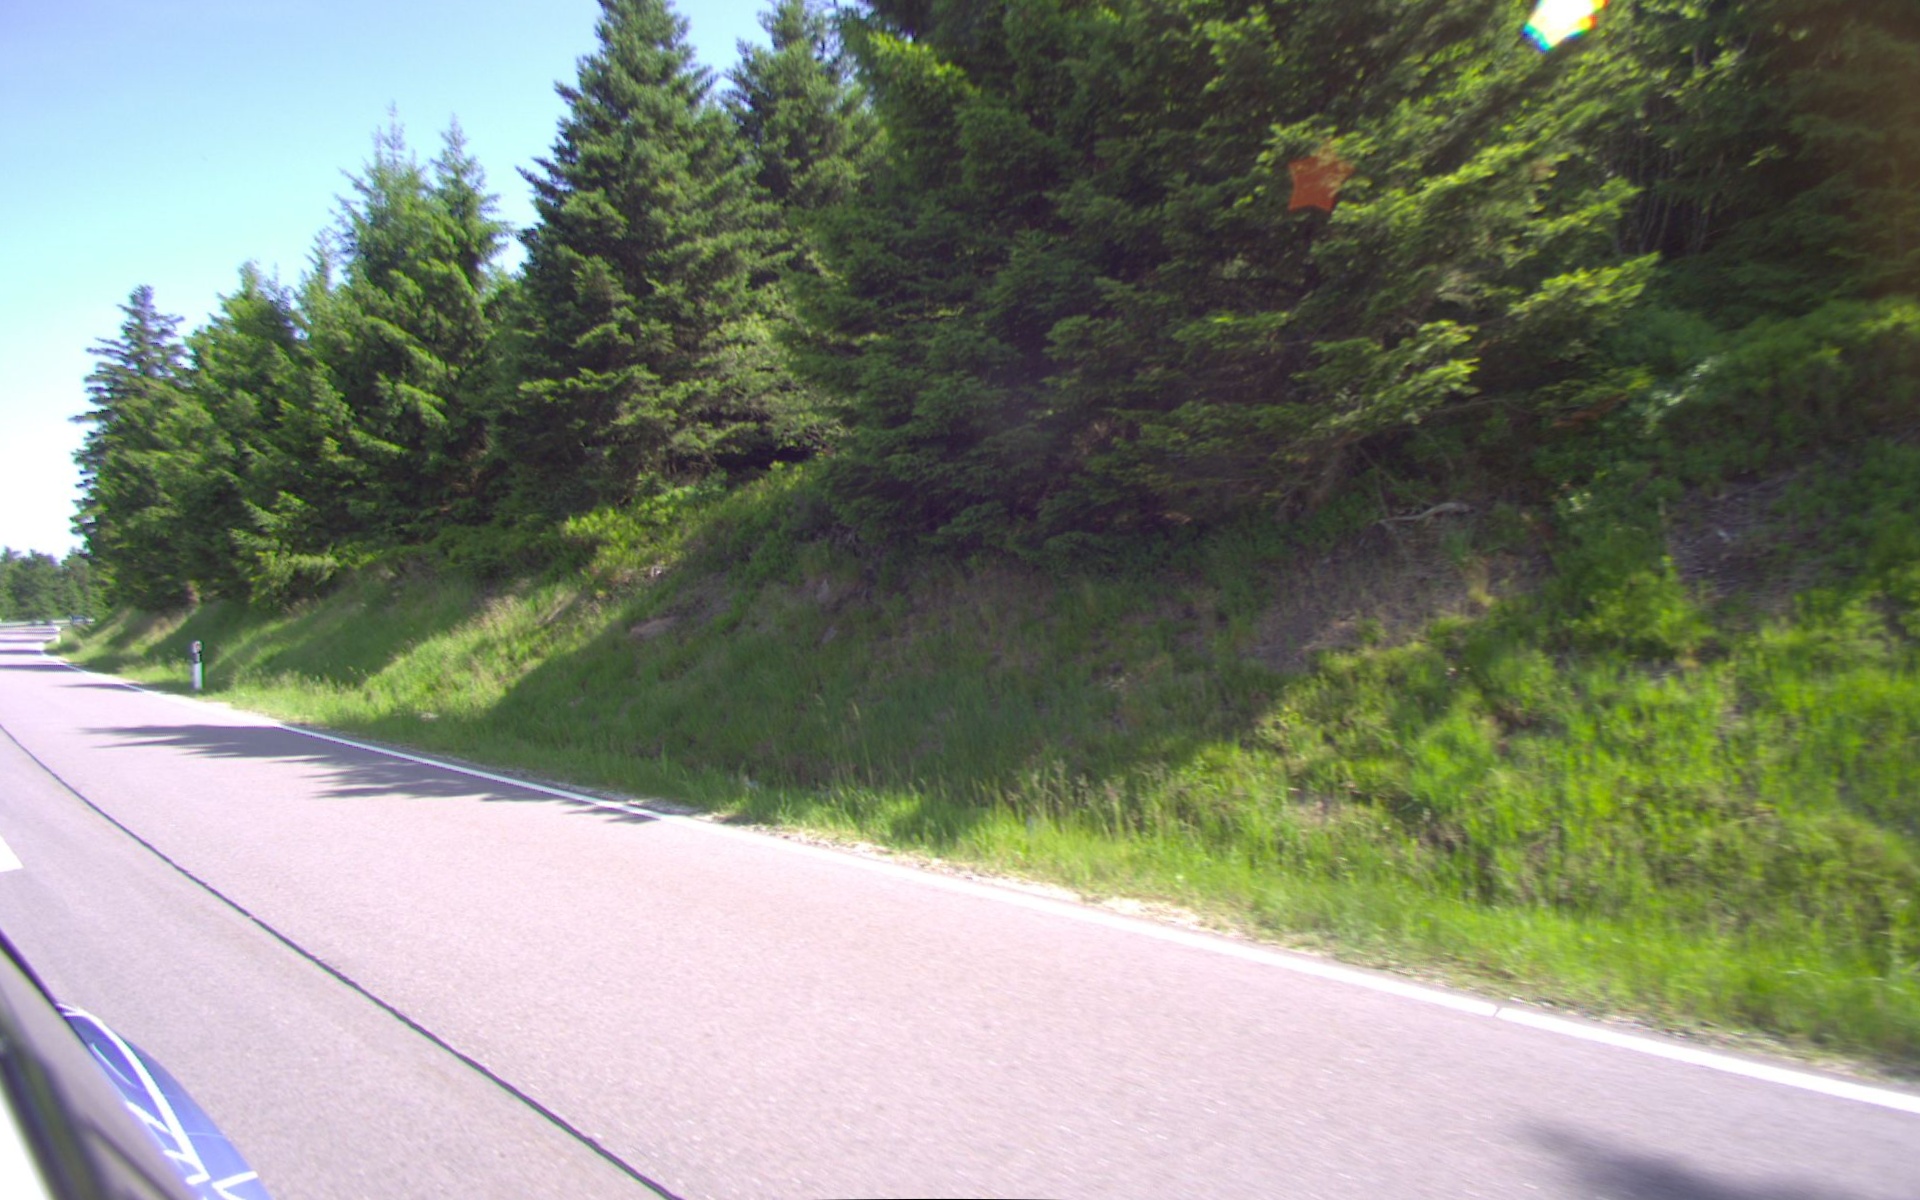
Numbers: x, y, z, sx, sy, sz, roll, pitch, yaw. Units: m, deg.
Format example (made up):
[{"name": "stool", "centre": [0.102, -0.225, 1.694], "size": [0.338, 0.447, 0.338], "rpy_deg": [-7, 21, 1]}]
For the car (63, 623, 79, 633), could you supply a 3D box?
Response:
[{"name": "car", "centre": [-127.794, 4.080, 145.428], "size": [1.664, 1.425, 3.266], "rpy_deg": [1, -2, -42]}]
